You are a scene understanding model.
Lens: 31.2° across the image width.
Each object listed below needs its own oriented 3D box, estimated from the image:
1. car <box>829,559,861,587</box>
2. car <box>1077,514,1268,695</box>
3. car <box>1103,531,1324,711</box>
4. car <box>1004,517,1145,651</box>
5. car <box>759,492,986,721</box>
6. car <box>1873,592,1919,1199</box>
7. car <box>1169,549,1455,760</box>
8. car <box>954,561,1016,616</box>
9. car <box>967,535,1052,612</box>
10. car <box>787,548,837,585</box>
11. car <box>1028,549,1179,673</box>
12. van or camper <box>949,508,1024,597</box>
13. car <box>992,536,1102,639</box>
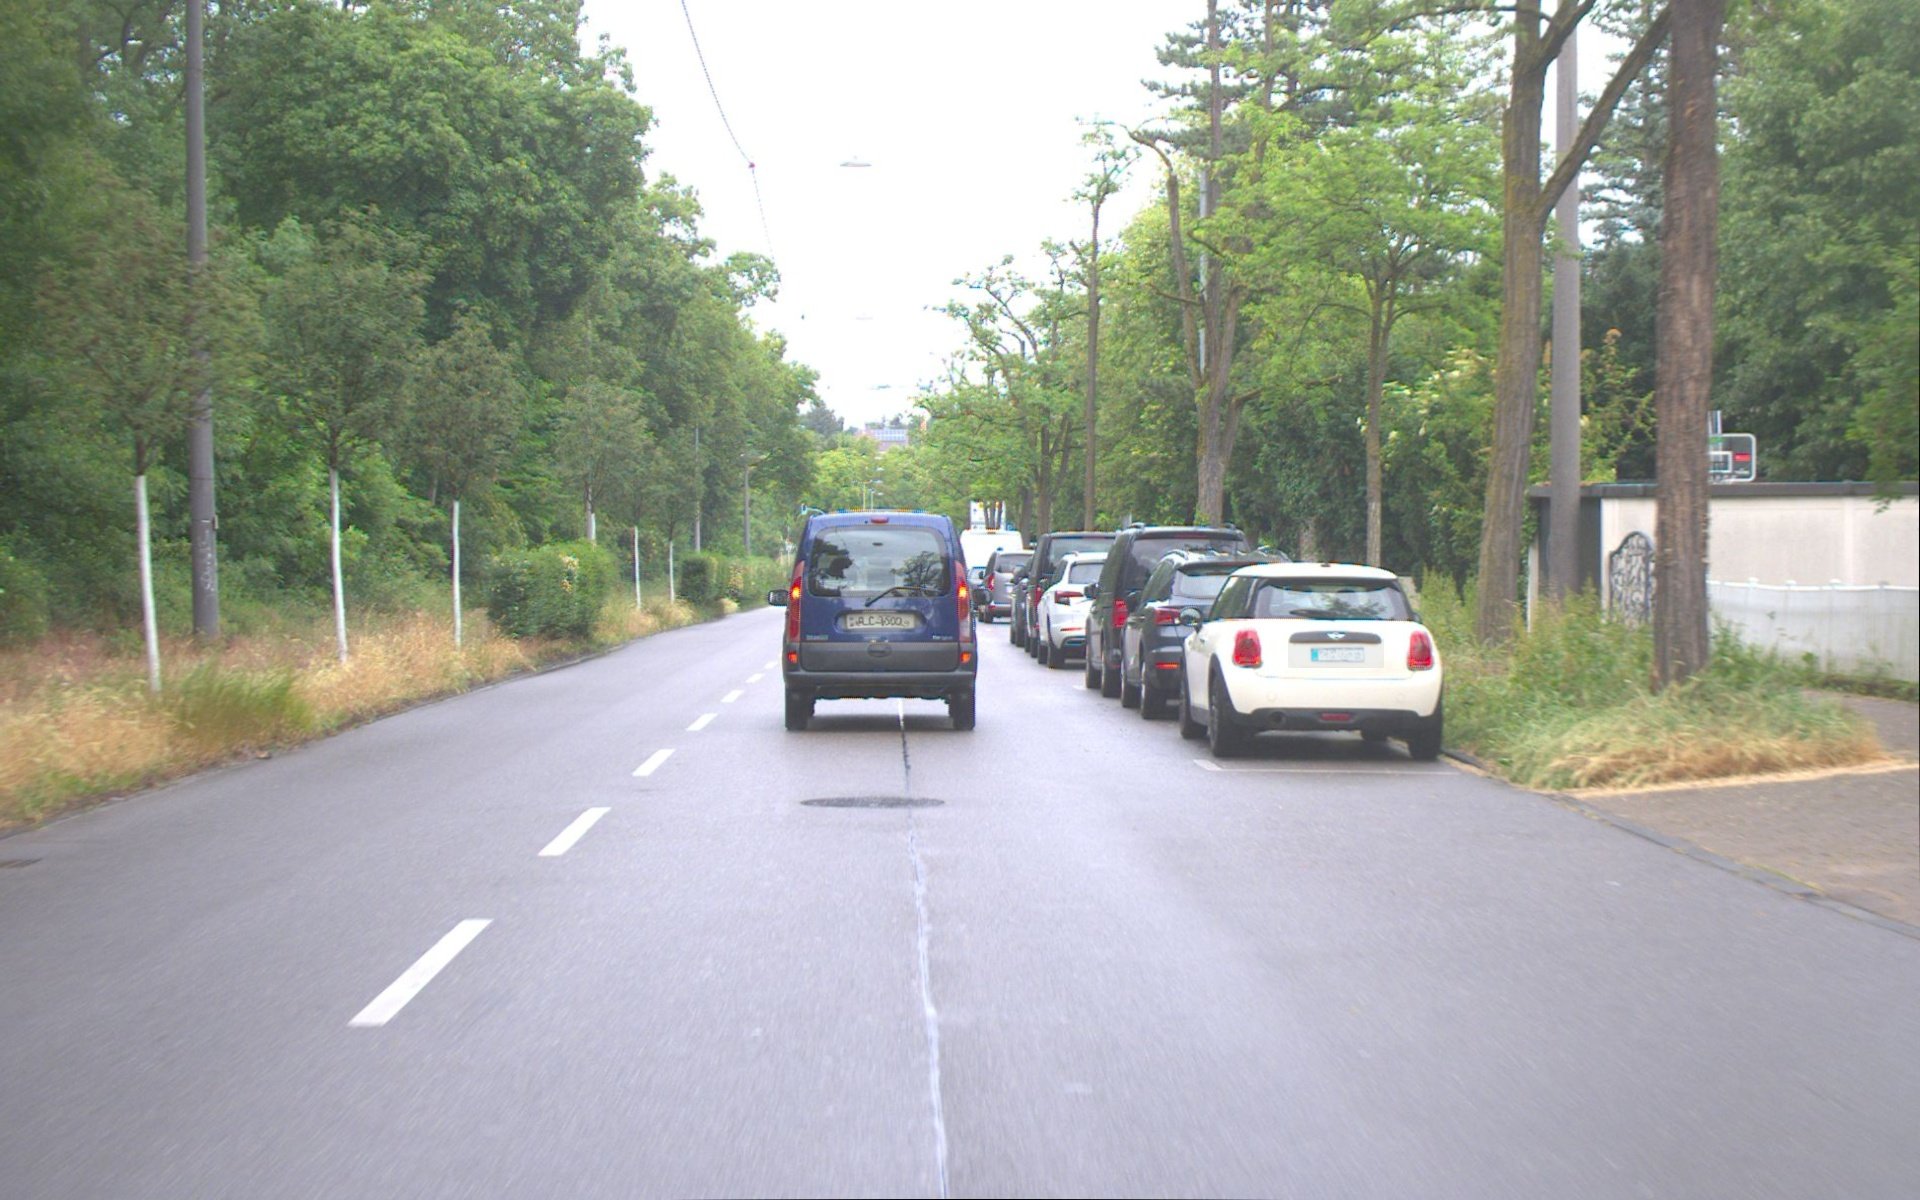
[{"bbox_3d":[-6.503,-1.530,194.877,1.783,1.474,3.968,-1,0,-1],"label":"car"},{"bbox_3d":[2.276,-0.004,37.797,1.730,1.841,4.230,1,1,-1],"label":"car"},{"bbox_3d":[2.328,0.142,32.487,1.678,1.550,4.076,1,1,-1],"label":"car"},{"bbox_3d":[1.776,-0.301,54.812,1.993,2.007,4.888,1,1,-1],"label":"car"},{"bbox_3d":[-0.813,0.014,29.662,1.766,1.824,3.543,1,1,-4],"label":"car"},{"bbox_3d":[2.837,0.745,5.011,1.782,1.390,4.001,1,1,-2],"label":"car"},{"bbox_3d":[2.651,0.368,26.661,1.738,1.459,3.725,1,1,-1],"label":"car"},{"bbox_3d":[0.722,-0.338,97.942,1.626,1.459,3.807,1,1,2],"label":"car"},{"bbox_3d":[1.200,-0.676,85.010,1.814,1.807,4.283,1,1,-3],"label":"car"},{"bbox_3d":[-6.045,-1.370,140.770,1.860,1.475,4.156,-1,1,-1],"label":"car"},{"bbox_3d":[1.972,0.116,48.362,1.804,1.607,4.287,1,1,-2],"label":"car"},{"bbox_3d":[0.790,-1.484,105.771,2.078,2.641,5.346,1,1,-1],"label":"van or camper"},{"bbox_3d":[1.512,-0.248,61.331,1.773,1.717,4.327,1,1,-1],"label":"car"}]
